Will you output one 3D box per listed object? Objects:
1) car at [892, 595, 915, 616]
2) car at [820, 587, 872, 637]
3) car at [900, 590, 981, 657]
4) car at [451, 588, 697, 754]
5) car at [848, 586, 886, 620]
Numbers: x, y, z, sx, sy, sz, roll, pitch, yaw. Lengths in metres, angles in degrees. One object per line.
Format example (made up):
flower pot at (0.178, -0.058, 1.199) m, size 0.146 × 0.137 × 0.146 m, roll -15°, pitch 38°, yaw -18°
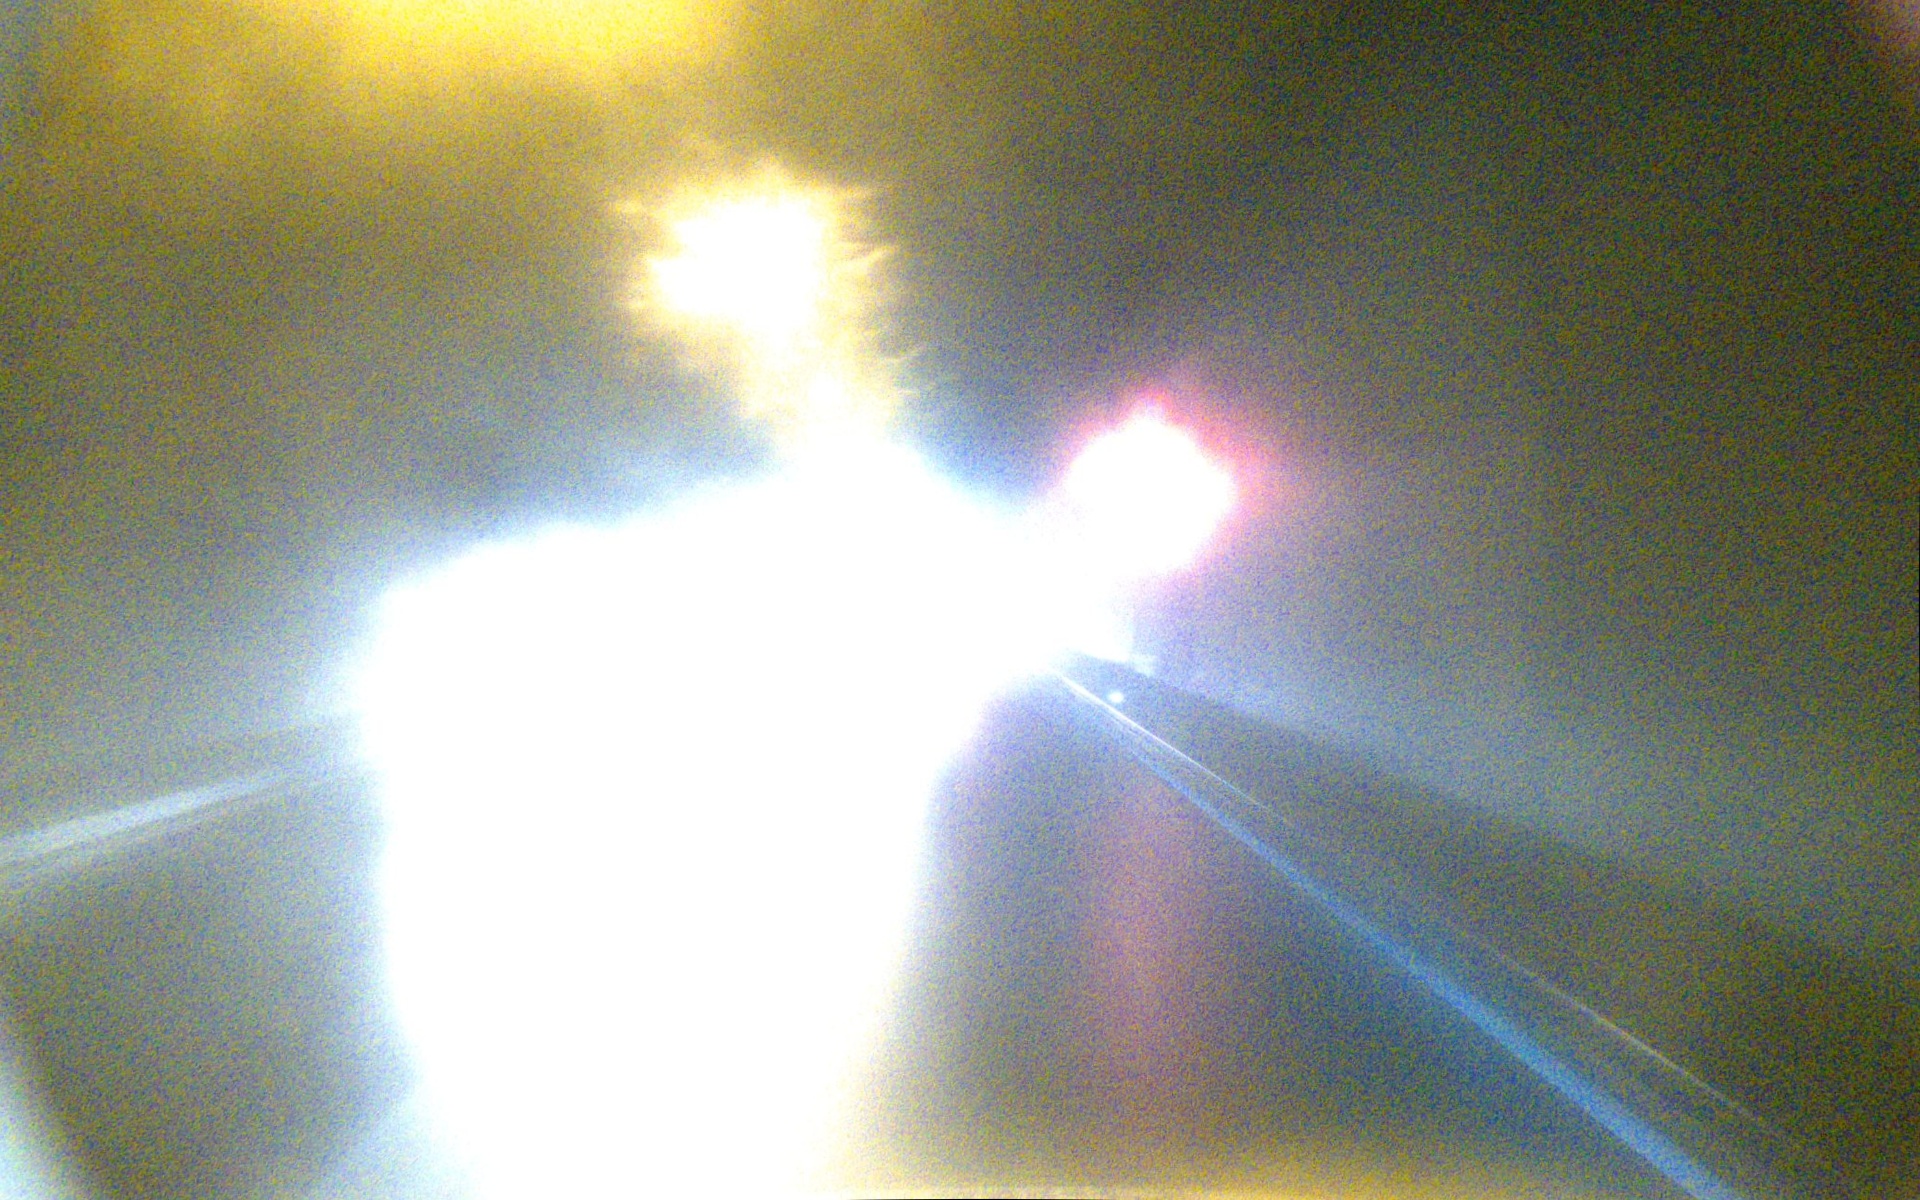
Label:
car at (-5.033, 0.491, 146.936) m, size 1.953 × 1.739 × 4.279 m, roll 1°, pitch 0°, yaw -1°
car at (-4.148, 0.420, 60.709) m, size 1.635 × 1.676 × 3.906 m, roll -2°, pitch 1°, yaw -1°
car at (-0.545, 0.613, 44.478) m, size 2.047 × 1.691 × 3.999 m, roll 1°, pitch 0°, yaw -1°
car at (-3.741, 0.625, 16.594) m, size 1.676 × 1.488 × 3.574 m, roll 0°, pitch 0°, yaw -1°
car at (-4.496, 0.131, 80.637) m, size 1.666 × 1.583 × 3.872 m, roll 1°, pitch 0°, yaw -1°
